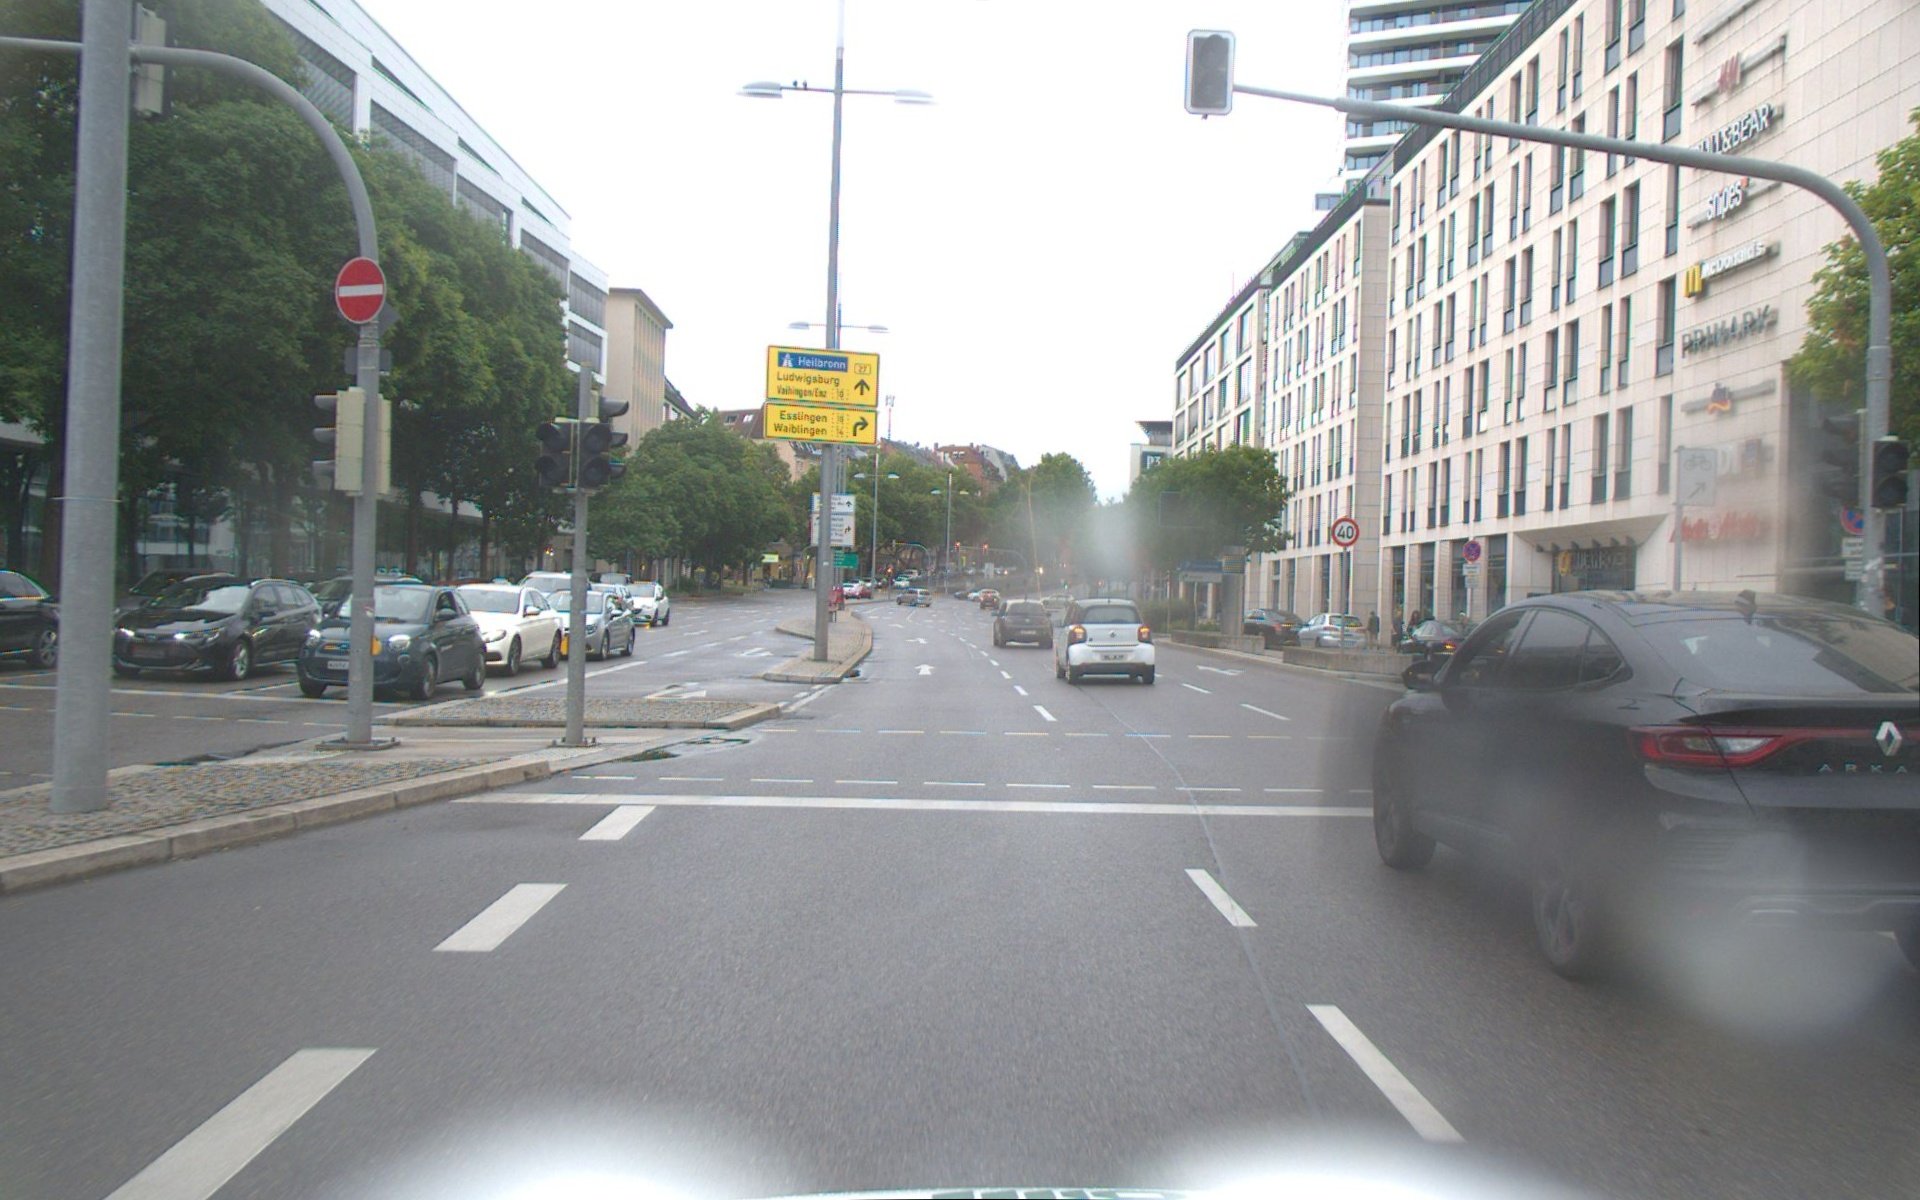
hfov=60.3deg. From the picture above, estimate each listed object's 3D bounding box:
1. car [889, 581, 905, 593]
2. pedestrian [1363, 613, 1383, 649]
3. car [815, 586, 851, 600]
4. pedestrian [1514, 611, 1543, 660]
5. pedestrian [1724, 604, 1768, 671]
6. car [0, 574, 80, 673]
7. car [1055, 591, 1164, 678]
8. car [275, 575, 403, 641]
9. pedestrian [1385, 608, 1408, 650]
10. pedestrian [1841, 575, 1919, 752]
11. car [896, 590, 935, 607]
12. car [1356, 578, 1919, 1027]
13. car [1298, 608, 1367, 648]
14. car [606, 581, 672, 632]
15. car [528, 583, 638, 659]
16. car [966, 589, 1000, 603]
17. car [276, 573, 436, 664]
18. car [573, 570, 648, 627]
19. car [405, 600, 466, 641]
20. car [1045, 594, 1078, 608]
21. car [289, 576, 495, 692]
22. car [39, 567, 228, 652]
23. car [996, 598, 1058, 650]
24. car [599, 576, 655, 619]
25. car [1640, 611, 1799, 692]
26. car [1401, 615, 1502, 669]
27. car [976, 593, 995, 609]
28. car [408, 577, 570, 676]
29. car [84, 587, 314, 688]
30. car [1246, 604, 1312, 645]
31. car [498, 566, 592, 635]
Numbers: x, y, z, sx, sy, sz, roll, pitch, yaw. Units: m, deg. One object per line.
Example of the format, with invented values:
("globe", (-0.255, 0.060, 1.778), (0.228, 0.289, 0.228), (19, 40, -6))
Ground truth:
("car", (-8.754, -1.825, 229.114), (1.703, 1.558, 3.817), (1, 1, 6))
("pedestrian", (18.086, 1.339, 72.390), (0.660, 1.555, 0.726), (1, -1, -1))
("car", (-14.329, -0.791, 186.985), (3.769, 1.558, 1.724), (0, 1, -35))
("pedestrian", (18.309, 1.137, 53.255), (0.660, 1.555, 0.726), (1, -1, -1))
("pedestrian", (18.430, 0.880, 38.799), (0.660, 1.555, 0.726), (1, -1, -1))
("car", (-13.878, 0.308, 22.373), (1.708, 1.352, 4.224), (1, 0, -1))
("car", (2.801, 0.635, 31.664), (1.689, 1.558, 3.813), (1, 0, -1))
("car", (-14.612, 0.193, 39.080), (1.708, 1.448, 3.539), (1, 0, -1))
("pedestrian", (16.525, 1.104, 62.618), (0.660, 1.555, 0.726), (1, -1, -1))
("pedestrian", (9.943, 0.677, 17.740), (0.712, 1.864, 0.510), (1, -1, -1))
("car", (-4.191, -0.118, 155.109), (1.729, 1.558, 3.759), (0, 1, -40))
("car", (3.330, 0.678, 7.878), (1.754, 1.533, 4.338), (1, 1, -1))
("car", (12.503, 0.932, 55.612), (1.475, 1.288, 3.501), (1, 0, -1))
("car", (-11.523, 0.237, 59.567), (1.708, 1.779, 3.539), (1, 0, -1))
("car", (-7.933, 0.439, 35.073), (1.507, 1.503, 3.695), (1, 0, -1))
("car", (2.678, -0.498, 193.416), (3.720, 1.558, 1.747), (1, 0, 7))
("car", (-11.220, 0.342, 30.942), (1.708, 1.586, 3.539), (1, 0, -1))
("car", (-11.357, -0.038, 53.869), (1.708, 1.779, 3.539), (1, 0, -1))
("car", (-23.964, 0.921, 75.659), (1.708, 1.779, 3.539), (1, 0, -1))
("car", (11.897, 0.116, 194.055), (3.720, 1.558, 1.747), (1, 0, 7))
("car", (-7.786, 0.456, 22.986), (1.708, 1.470, 3.394), (1, 0, -1))
("car", (-15.150, 0.174, 30.518), (1.708, 1.448, 3.539), (1, 0, -1))
("car", (2.057, 0.734, 51.855), (1.704, 1.558, 3.813), (1, 0, -1))
("car", (-14.295, -0.100, 71.064), (1.708, 1.779, 3.539), (1, 0, -1))
("car", (13.013, 0.854, 28.542), (1.474, 1.288, 3.504), (1, 0, 7))
("car", (12.427, 1.038, 42.022), (1.475, 1.288, 3.501), (1, 0, -1))
("car", (2.478, 0.132, 162.052), (1.704, 1.558, 3.813), (1, 0, -1))
("car", (-8.171, 0.446, 29.090), (1.668, 1.586, 4.244), (1, 0, -1))
("car", (-10.890, 0.486, 23.941), (1.708, 1.279, 3.539), (2, 1, -1))
("car", (11.766, 0.894, 61.188), (1.627, 1.425, 3.831), (1, 0, -1))
("car", (-11.294, 0.029, 45.243), (1.708, 1.779, 3.539), (1, 0, -1))
